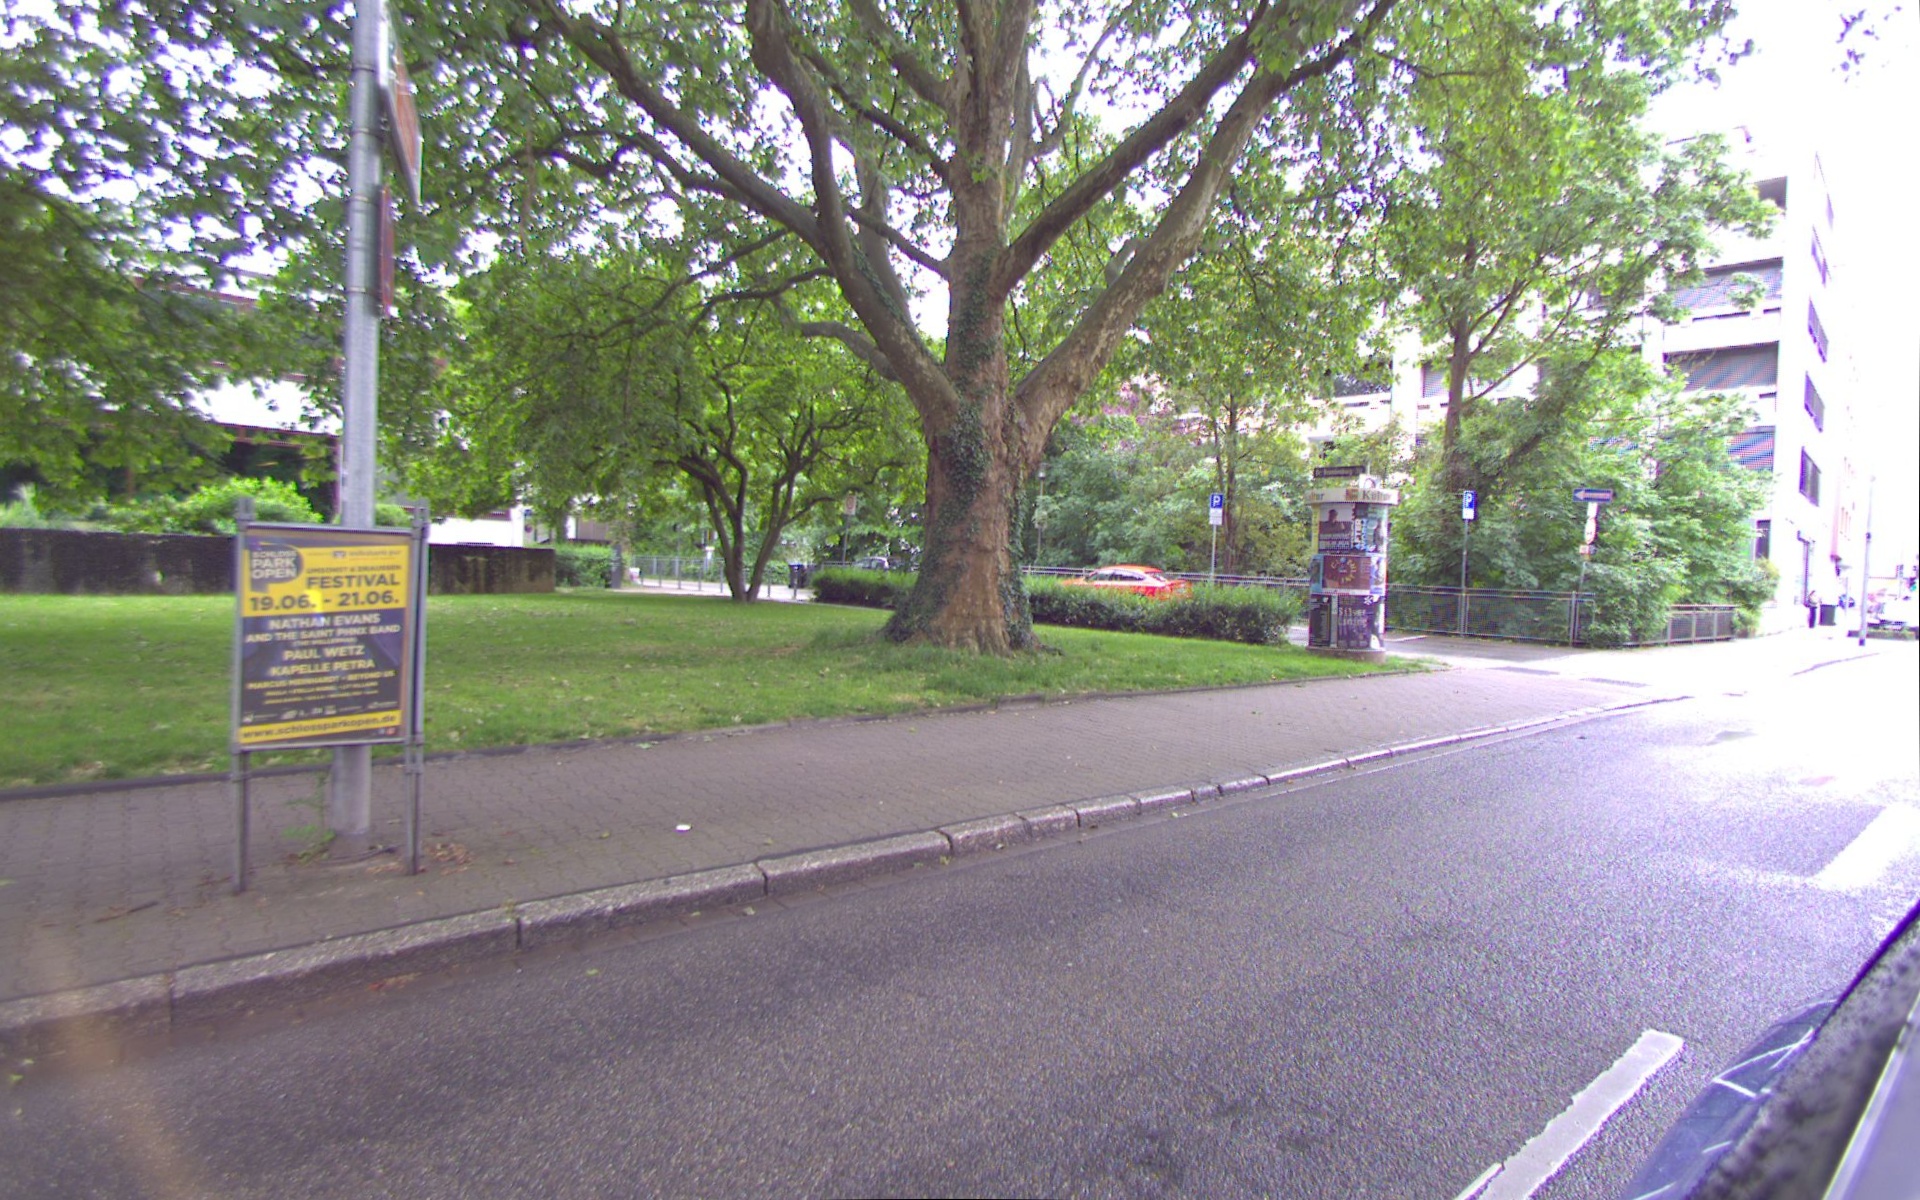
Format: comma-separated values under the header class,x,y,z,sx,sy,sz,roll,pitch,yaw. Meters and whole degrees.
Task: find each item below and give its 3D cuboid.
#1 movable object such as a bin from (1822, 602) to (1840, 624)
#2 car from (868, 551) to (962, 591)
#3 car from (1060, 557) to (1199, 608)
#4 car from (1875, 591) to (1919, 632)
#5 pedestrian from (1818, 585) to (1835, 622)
class,x,y,z,sx,sy,sz,roll,pitch,yaw
movable object such as a bin,41.927,0.621,48.712,0.287,1.054,0.556,0,3,-41
car,-1.654,-1.083,36.686,3.460,1.294,1.426,5,4,45
car,4.887,-0.538,29.497,1.551,1.294,3.784,-1,4,-44
car,37.421,0.456,39.739,3.617,1.449,1.681,0,5,-41
pedestrian,36.449,0.160,42.568,0.473,1.549,0.480,0,0,-41
